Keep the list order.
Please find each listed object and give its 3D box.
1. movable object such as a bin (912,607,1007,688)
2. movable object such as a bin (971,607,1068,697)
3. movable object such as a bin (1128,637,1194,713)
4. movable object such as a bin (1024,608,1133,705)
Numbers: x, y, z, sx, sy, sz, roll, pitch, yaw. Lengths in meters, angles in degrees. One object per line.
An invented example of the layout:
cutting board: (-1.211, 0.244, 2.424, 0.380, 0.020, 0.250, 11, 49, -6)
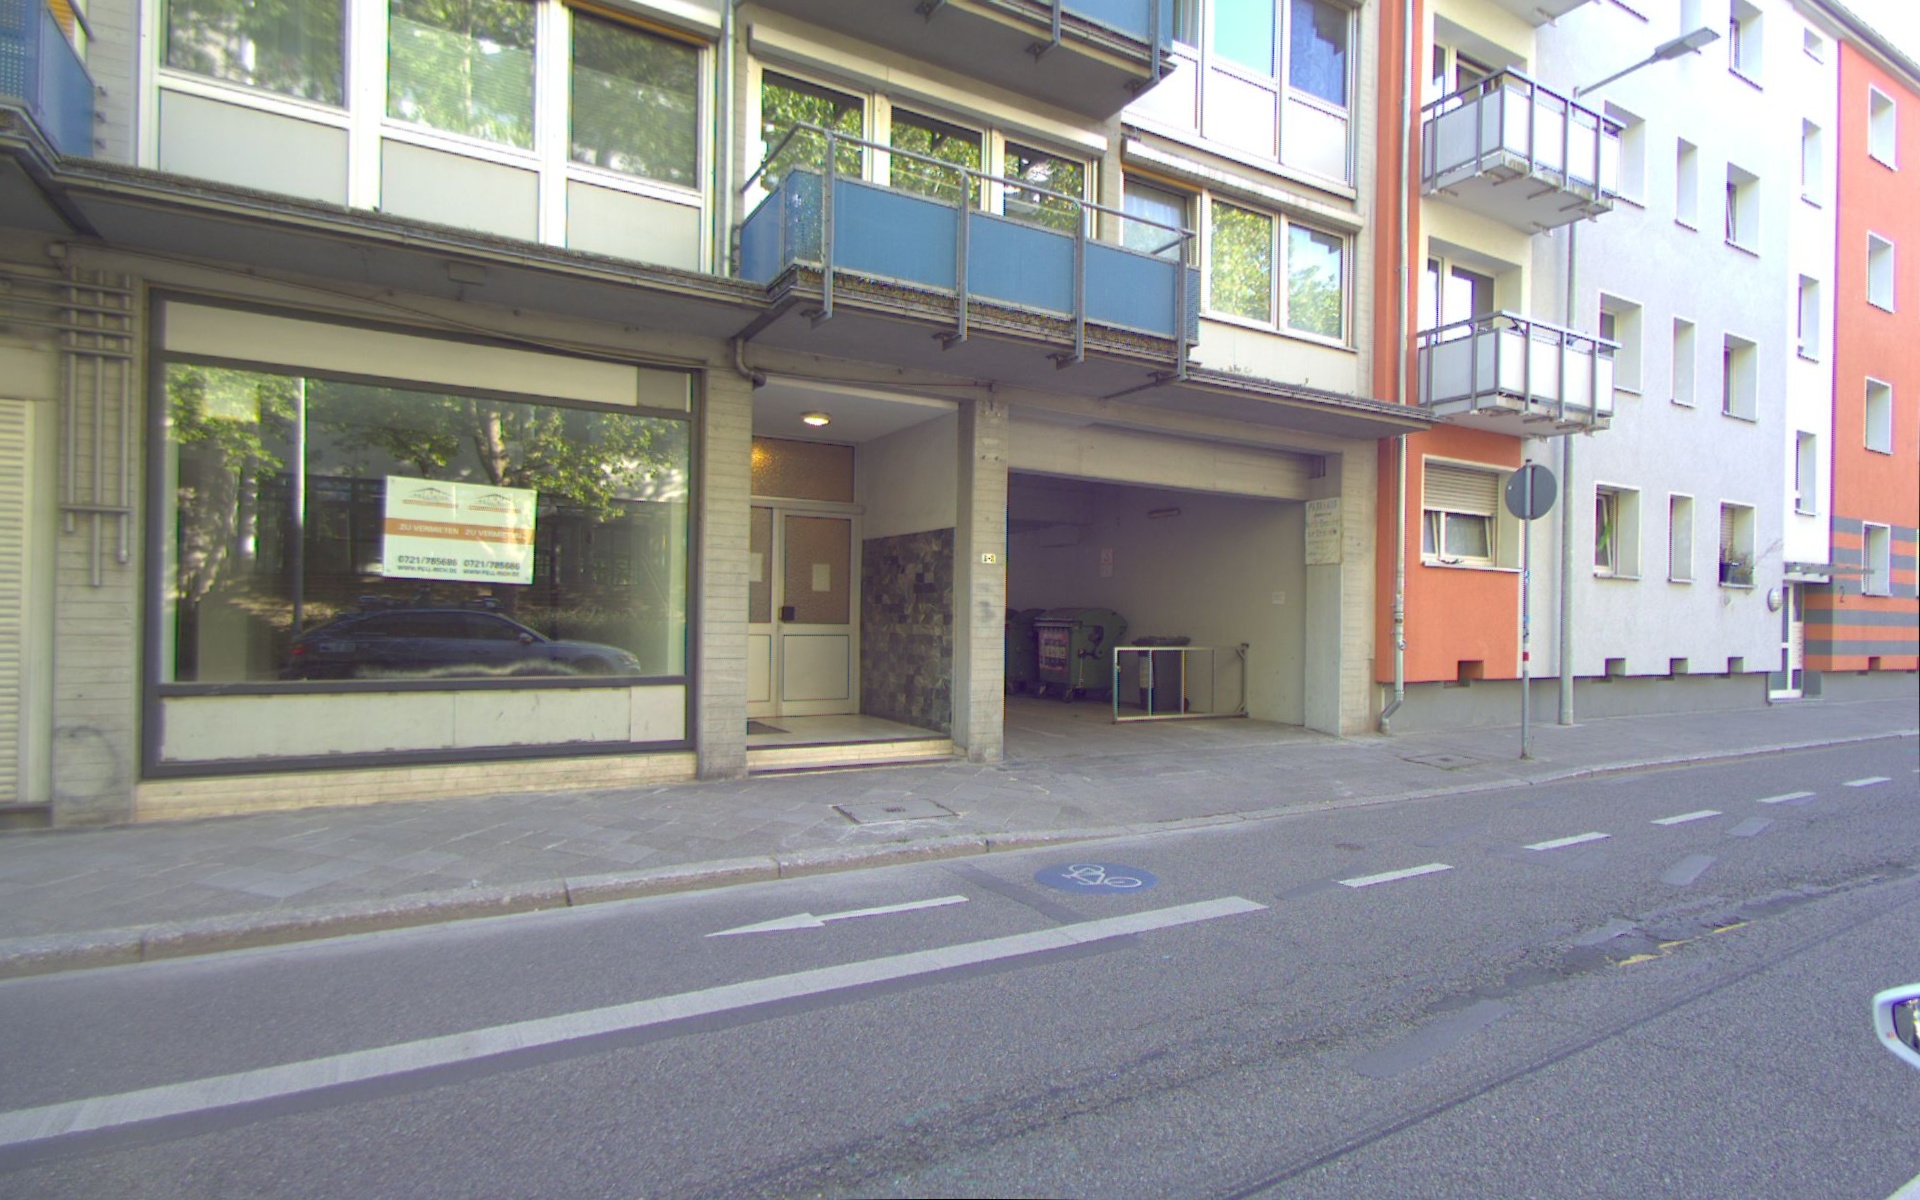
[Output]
movable object such as a bin: (-0.027, 0.861, 18.884, 1.119, 1.449, 1.666, 1, 0, -28)
movable object such as a bin: (1.001, 0.864, 17.181, 1.119, 1.449, 1.322, 1, 0, -28)
movable object such as a bin: (2.902, 1.072, 14.540, 0.695, 1.055, 0.593, 2, 0, -30)
movable object such as a bin: (1.852, 0.859, 15.858, 1.128, 1.449, 1.342, 1, 0, -28)
